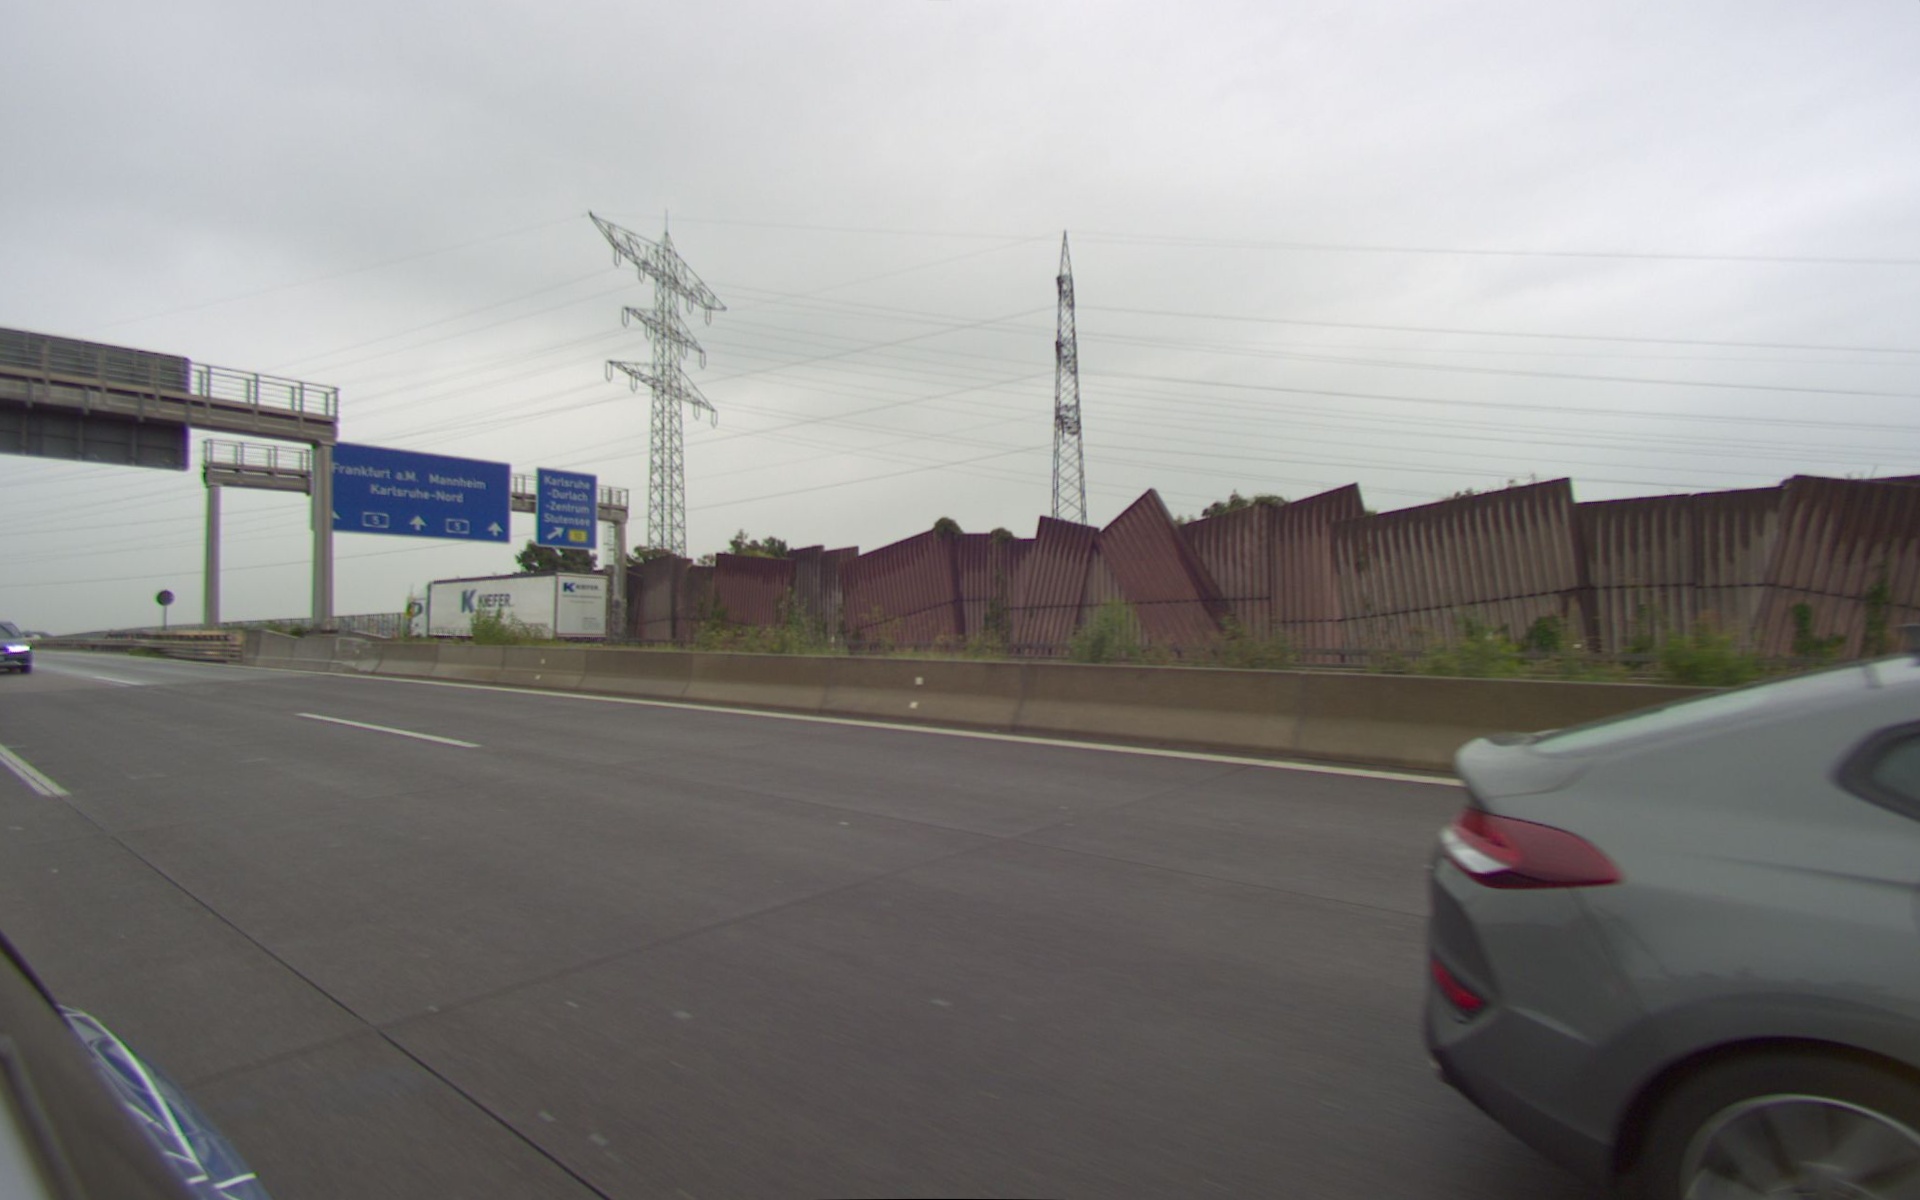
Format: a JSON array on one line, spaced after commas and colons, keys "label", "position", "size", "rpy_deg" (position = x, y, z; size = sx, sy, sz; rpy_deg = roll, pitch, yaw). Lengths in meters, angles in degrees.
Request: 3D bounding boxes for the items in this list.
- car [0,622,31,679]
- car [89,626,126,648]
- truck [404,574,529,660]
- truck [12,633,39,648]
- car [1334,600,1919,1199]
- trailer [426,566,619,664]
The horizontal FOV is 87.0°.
[{"label": "car", "position": [-29.669, 1.501, 30.555], "size": [5.152, 1.606, 1.820], "rpy_deg": [-1, -1, 41]}, {"label": "car", "position": [-79.752, 3.420, 94.698], "size": [4.168, 1.946, 1.973], "rpy_deg": [-2, 0, 40]}, {"label": "truck", "position": [-26.087, 0.879, 53.285], "size": [7.883, 4.218, 3.025], "rpy_deg": [-2, 0, 41]}, {"label": "truck", "position": [-124.227, 5.336, 134.558], "size": [5.245, 1.945, 1.973], "rpy_deg": [-2, -2, 40]}, {"label": "car", "position": [3.255, 0.687, 1.431], "size": [4.826, 1.413, 1.707], "rpy_deg": [-1, -1, 41]}, {"label": "trailer", "position": [-21.686, 0.759, 49.451], "size": [13.562, 4.218, 3.025], "rpy_deg": [-2, 0, 41]}]
